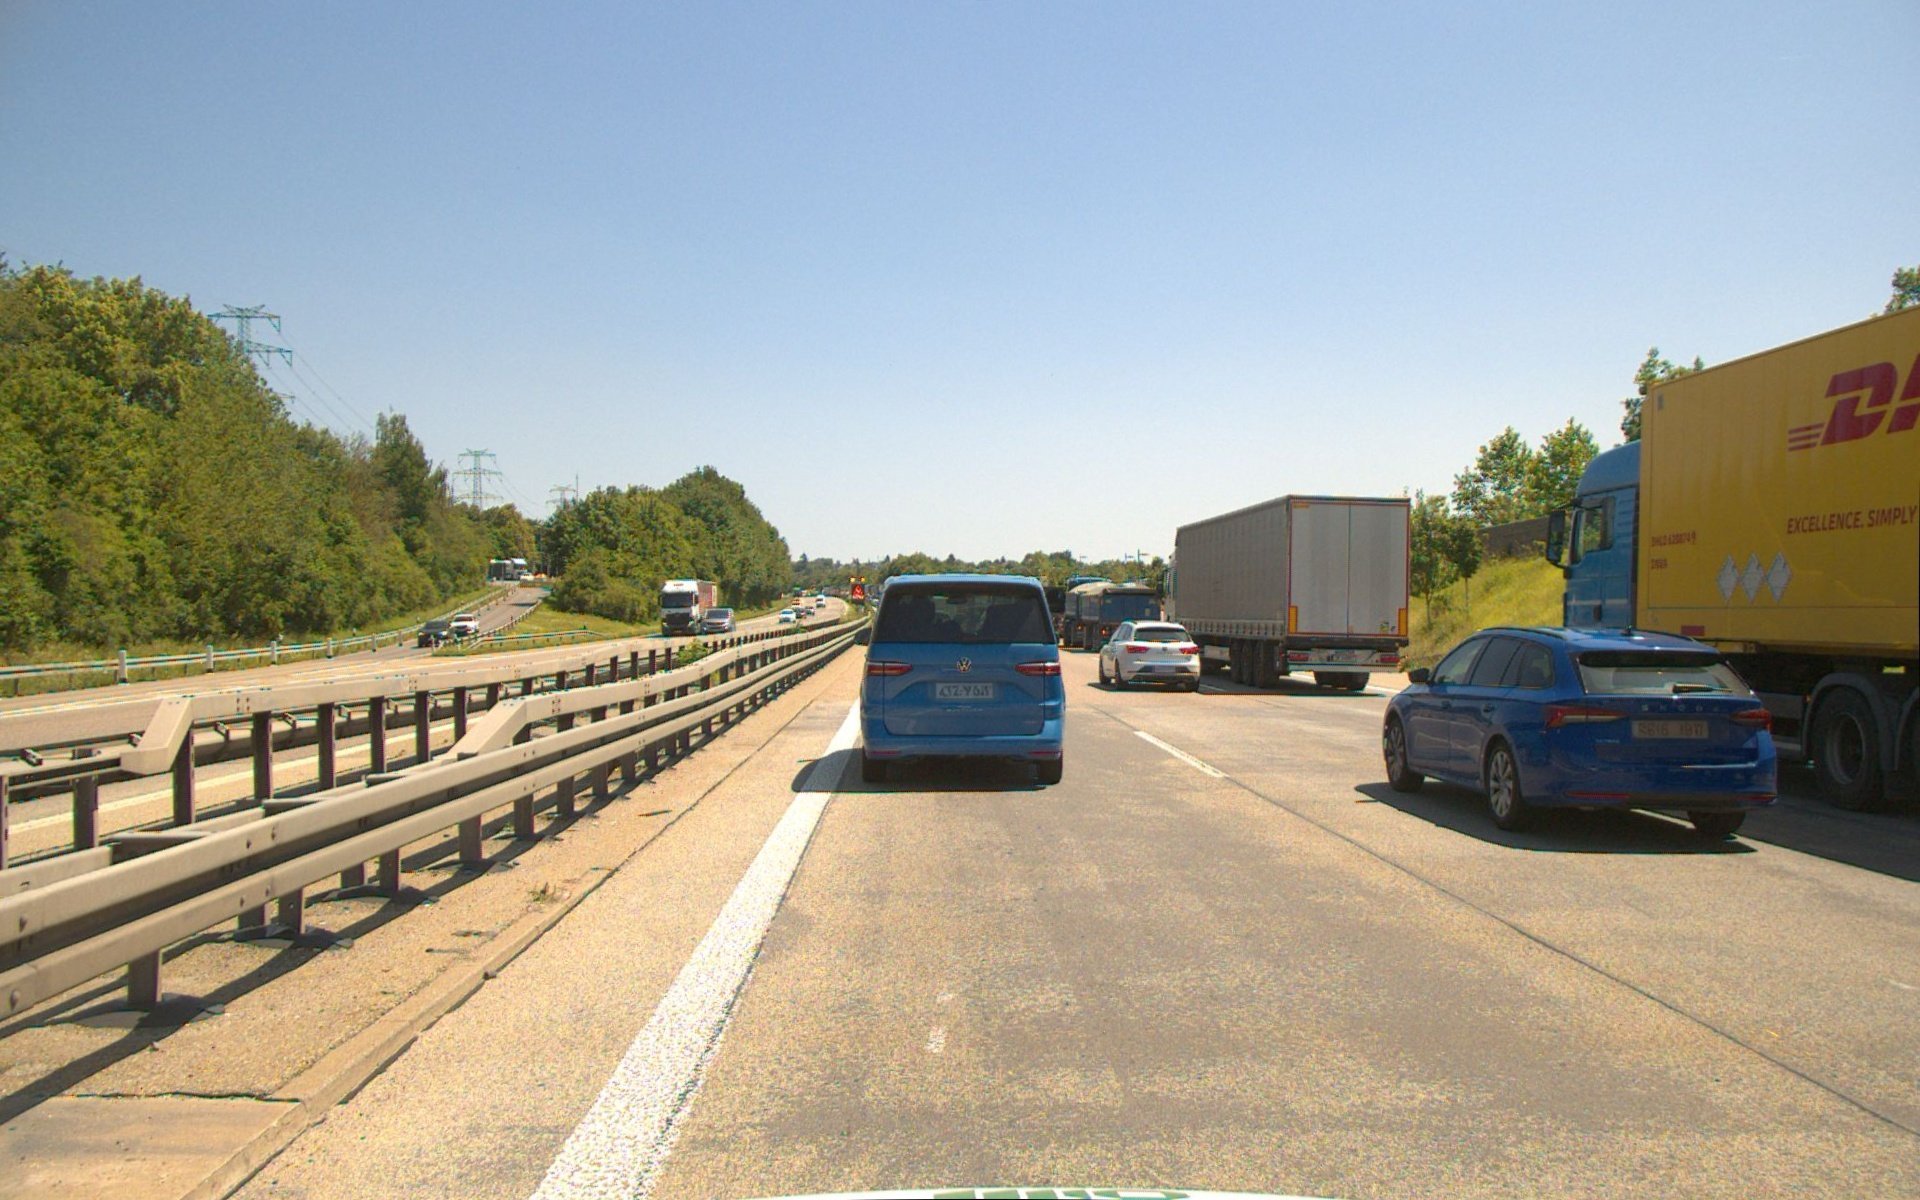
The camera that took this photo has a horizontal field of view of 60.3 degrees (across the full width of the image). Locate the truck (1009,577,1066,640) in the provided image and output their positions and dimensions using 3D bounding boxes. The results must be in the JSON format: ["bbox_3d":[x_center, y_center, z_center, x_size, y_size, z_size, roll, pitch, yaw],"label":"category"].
[{"bbox_3d":[5.339,0.649,114.860,3.551,4.166,7.523,1,-2,0],"label":"truck"}]

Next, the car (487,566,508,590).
[{"bbox_3d":[-60.241,-2.853,215.362,2.039,2.930,6.691,0,-2,-20],"label":"car"}]

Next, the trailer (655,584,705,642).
[{"bbox_3d":[-20.519,0.928,121.390,2.701,4.046,6.128,-2,0,-2],"label":"trailer"}]

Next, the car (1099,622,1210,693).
[{"bbox_3d":[4.087,1.186,35.336,1.829,1.385,3.999,1,-1,-1],"label":"car"}]

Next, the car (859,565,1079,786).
[{"bbox_3d":[0.055,0.700,16.292,1.863,1.870,3.999,1,-2,-1],"label":"car"}]

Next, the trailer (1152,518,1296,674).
[{"bbox_3d":[7.395,-0.086,47.208,2.865,4.115,6.407,1,-1,-2],"label":"trailer"}]

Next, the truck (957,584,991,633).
[{"bbox_3d":[1.457,1.016,176.537,3.007,5.006,10.683,1,-2,-2],"label":"truck"}]

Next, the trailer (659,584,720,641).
[{"bbox_3d":[-20.749,0.970,127.631,2.708,4.046,14.674,-2,0,-2],"label":"trailer"}]

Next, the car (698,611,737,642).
[{"bbox_3d":[-15.976,1.752,109.212,1.953,1.975,4.895,1,-1,-1],"label":"car"}]

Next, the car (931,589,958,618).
[{"bbox_3d":[-1.588,0.389,165.680,2.499,2.765,5.618,1,-2,-2],"label":"car"}]

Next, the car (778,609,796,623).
[{"bbox_3d":[-19.800,1.855,189.128,1.814,1.493,4.301,-1,-1,-4],"label":"car"}]

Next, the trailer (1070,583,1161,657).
[{"bbox_3d":[6.549,0.800,70.808,2.688,2.886,9.111,1,0,-2],"label":"trailer"}]

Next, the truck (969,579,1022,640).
[{"bbox_3d":[3.170,1.013,153.183,3.549,5.304,15.675,1,-1,-3],"label":"truck"}]

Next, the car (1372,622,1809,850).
[{"bbox_3d":[4.713,0.951,13.109,1.672,1.466,4.425,1,-1,-2],"label":"car"}]

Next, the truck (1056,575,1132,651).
[{"bbox_3d":[6.260,0.566,78.295,2.688,3.369,7.129,1,0,-2],"label":"truck"}]

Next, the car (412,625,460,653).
[{"bbox_3d":[-31.643,2.335,100.041,1.957,1.603,5.263,1,-1,-9],"label":"car"}]

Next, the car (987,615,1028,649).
[{"bbox_3d":[2.303,1.582,81.316,1.745,1.551,3.997,1,-1,-2],"label":"car"}]

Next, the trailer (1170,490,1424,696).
[{"bbox_3d":[7.676,-0.049,40.189,2.903,4.120,13.745,1,-1,-2],"label":"trailer"}]

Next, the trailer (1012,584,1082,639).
[{"bbox_3d":[5.410,0.852,106.285,3.572,3.133,15.768,1,-1,0],"label":"trailer"}]

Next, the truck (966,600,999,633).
[{"bbox_3d":[1.315,0.993,97.151,1.691,1.890,3.997,1,-2,-2],"label":"truck"}]

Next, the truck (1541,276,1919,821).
[{"bbox_3d":[8.632,-0.340,15.286,2.709,4.181,9.948,1,-1,-2],"label":"truck"}]

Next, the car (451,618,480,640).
[{"bbox_3d":[-35.280,2.085,118.090,1.656,1.481,4.331,2,-2,-12],"label":"car"}]

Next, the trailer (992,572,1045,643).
[{"bbox_3d":[4.510,0.707,130.446,3.572,5.226,13.073,1,-1,0],"label":"trailer"}]

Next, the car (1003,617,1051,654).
[{"bbox_3d":[2.840,1.526,70.934,1.803,1.480,3.998,1,-1,-1],"label":"car"}]

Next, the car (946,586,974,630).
[{"bbox_3d":[-0.045,1.028,209.411,3.153,5.349,8.139,1,-2,-2],"label":"car"}]
